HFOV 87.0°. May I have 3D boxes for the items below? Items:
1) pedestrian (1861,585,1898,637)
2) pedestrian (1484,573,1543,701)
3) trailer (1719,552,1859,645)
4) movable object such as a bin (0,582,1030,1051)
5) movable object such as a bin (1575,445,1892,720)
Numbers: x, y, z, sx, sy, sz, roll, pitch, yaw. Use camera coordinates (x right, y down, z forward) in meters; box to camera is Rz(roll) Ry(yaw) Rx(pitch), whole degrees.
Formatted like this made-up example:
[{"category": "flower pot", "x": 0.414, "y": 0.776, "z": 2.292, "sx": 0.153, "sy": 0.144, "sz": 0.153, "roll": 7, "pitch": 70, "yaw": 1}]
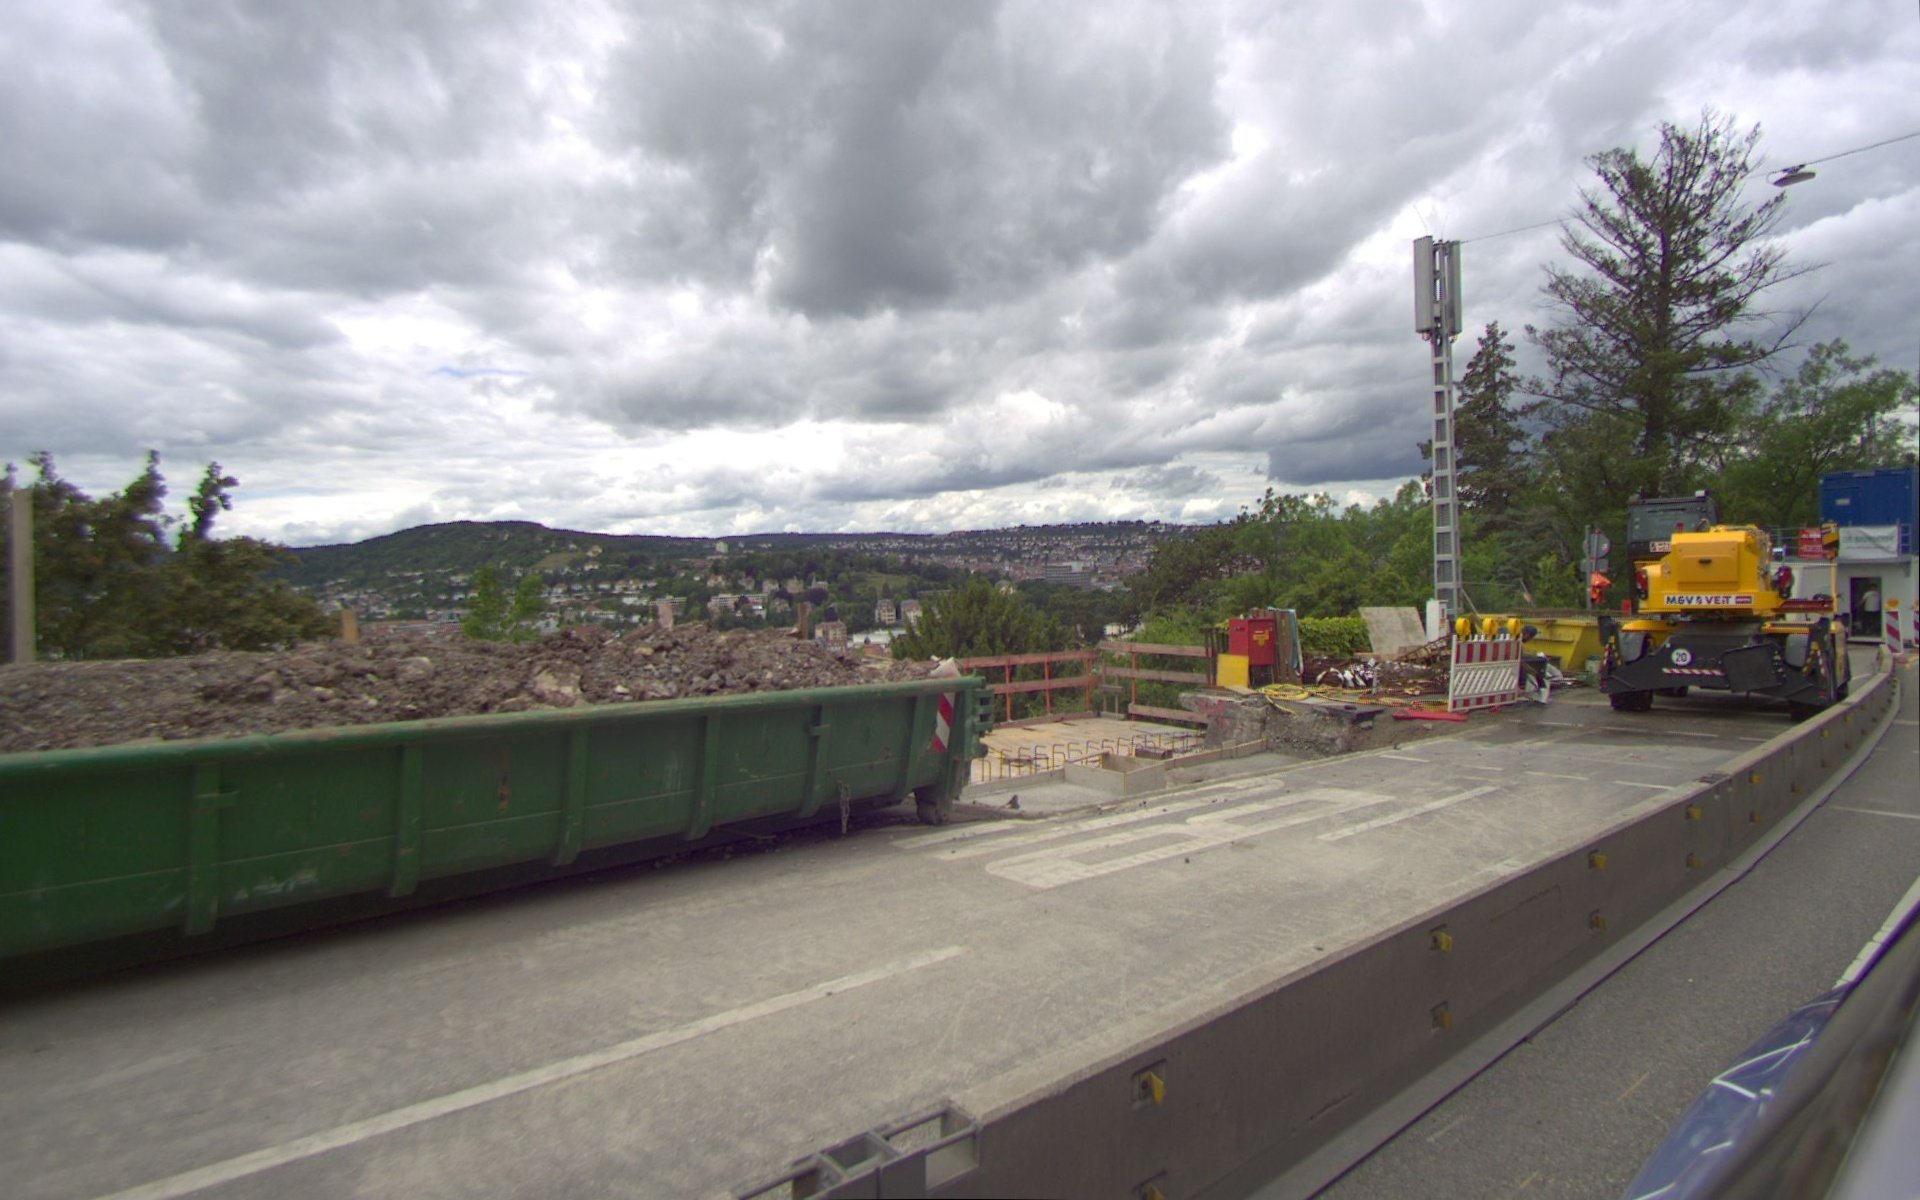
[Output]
[{"category": "pedestrian", "x": 30.323, "y": 0.359, "z": 33.389, "sx": 0.641, "sy": 1.683, "sz": 0.647, "roll": -1, "pitch": -1, "yaw": 16}, {"category": "pedestrian", "x": 8.084, "y": 0.520, "z": 14.786, "sx": 0.687, "sy": 1.818, "sz": 0.532, "roll": 0, "pitch": -1, "yaw": 37}, {"category": "trailer", "x": 25.043, "y": -0.096, "z": 30.527, "sx": 5.025, "sy": 2.581, "sz": 2.113, "roll": 0, "pitch": 2, "yaw": -38}, {"category": "movable object such as a bin", "x": -2.874, "y": 0.726, "z": 5.400, "sx": 6.980, "sy": 1.581, "sz": 2.376, "roll": -1, "pitch": 0, "yaw": -43}, {"category": "movable object such as a bin", "x": 11.862, "y": -0.199, "z": 15.169, "sx": 2.812, "sy": 3.110, "sz": 7.697, "roll": -1, "pitch": 0, "yaw": 45}]
